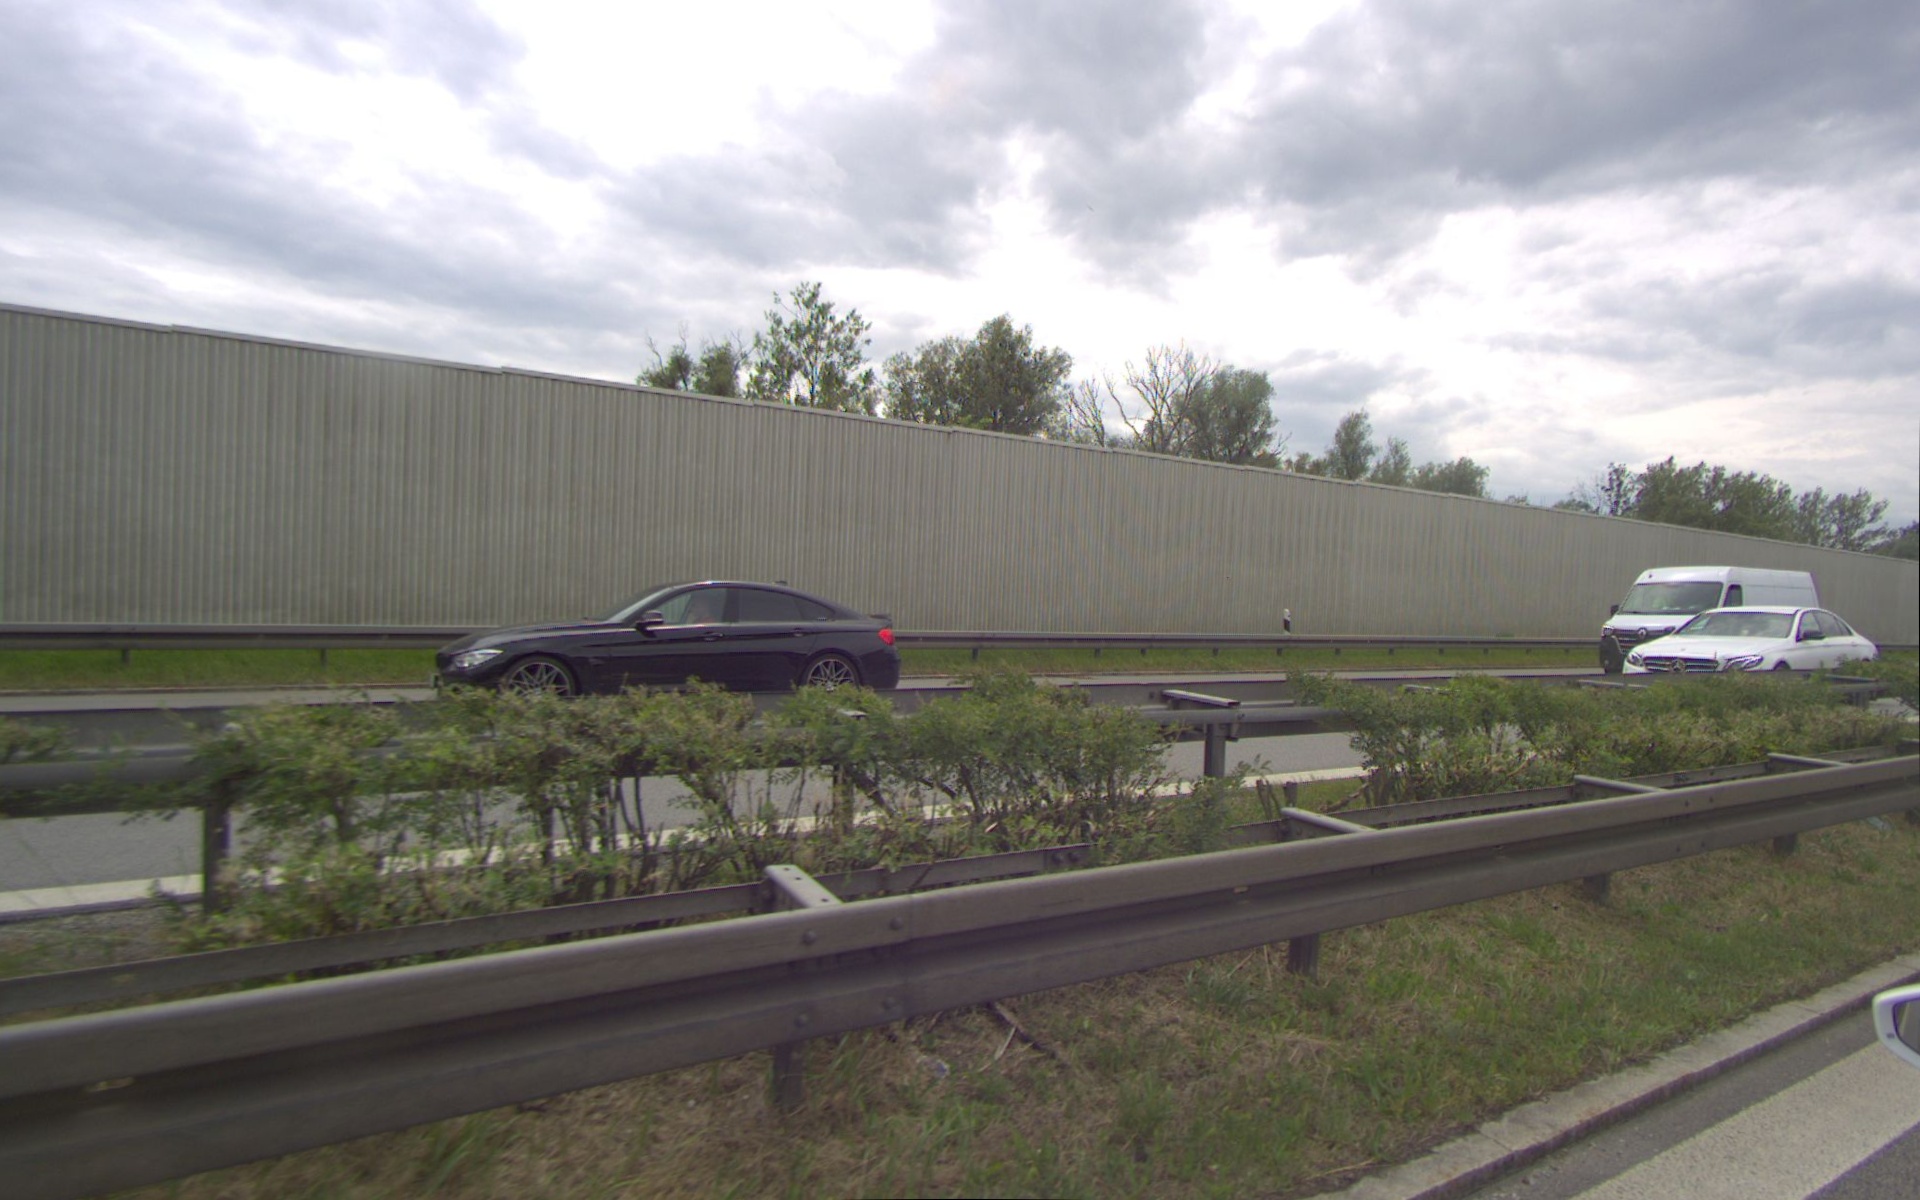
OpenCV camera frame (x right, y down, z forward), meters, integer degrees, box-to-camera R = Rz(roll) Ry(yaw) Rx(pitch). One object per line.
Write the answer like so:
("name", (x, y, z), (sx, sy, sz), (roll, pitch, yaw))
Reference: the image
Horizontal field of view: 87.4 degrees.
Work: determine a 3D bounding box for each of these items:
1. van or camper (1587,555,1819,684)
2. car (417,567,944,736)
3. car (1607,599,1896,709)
("van or camper", (16.204, 0.459, 21.773), (6.240, 2.474, 1.982), (1, -1, -33))
("car", (-2.786, 0.464, 10.366), (4.910, 1.382, 1.984), (2, 0, -30))
("car", (12.172, 0.768, 15.360), (4.910, 1.433, 1.796), (2, 0, -30))
